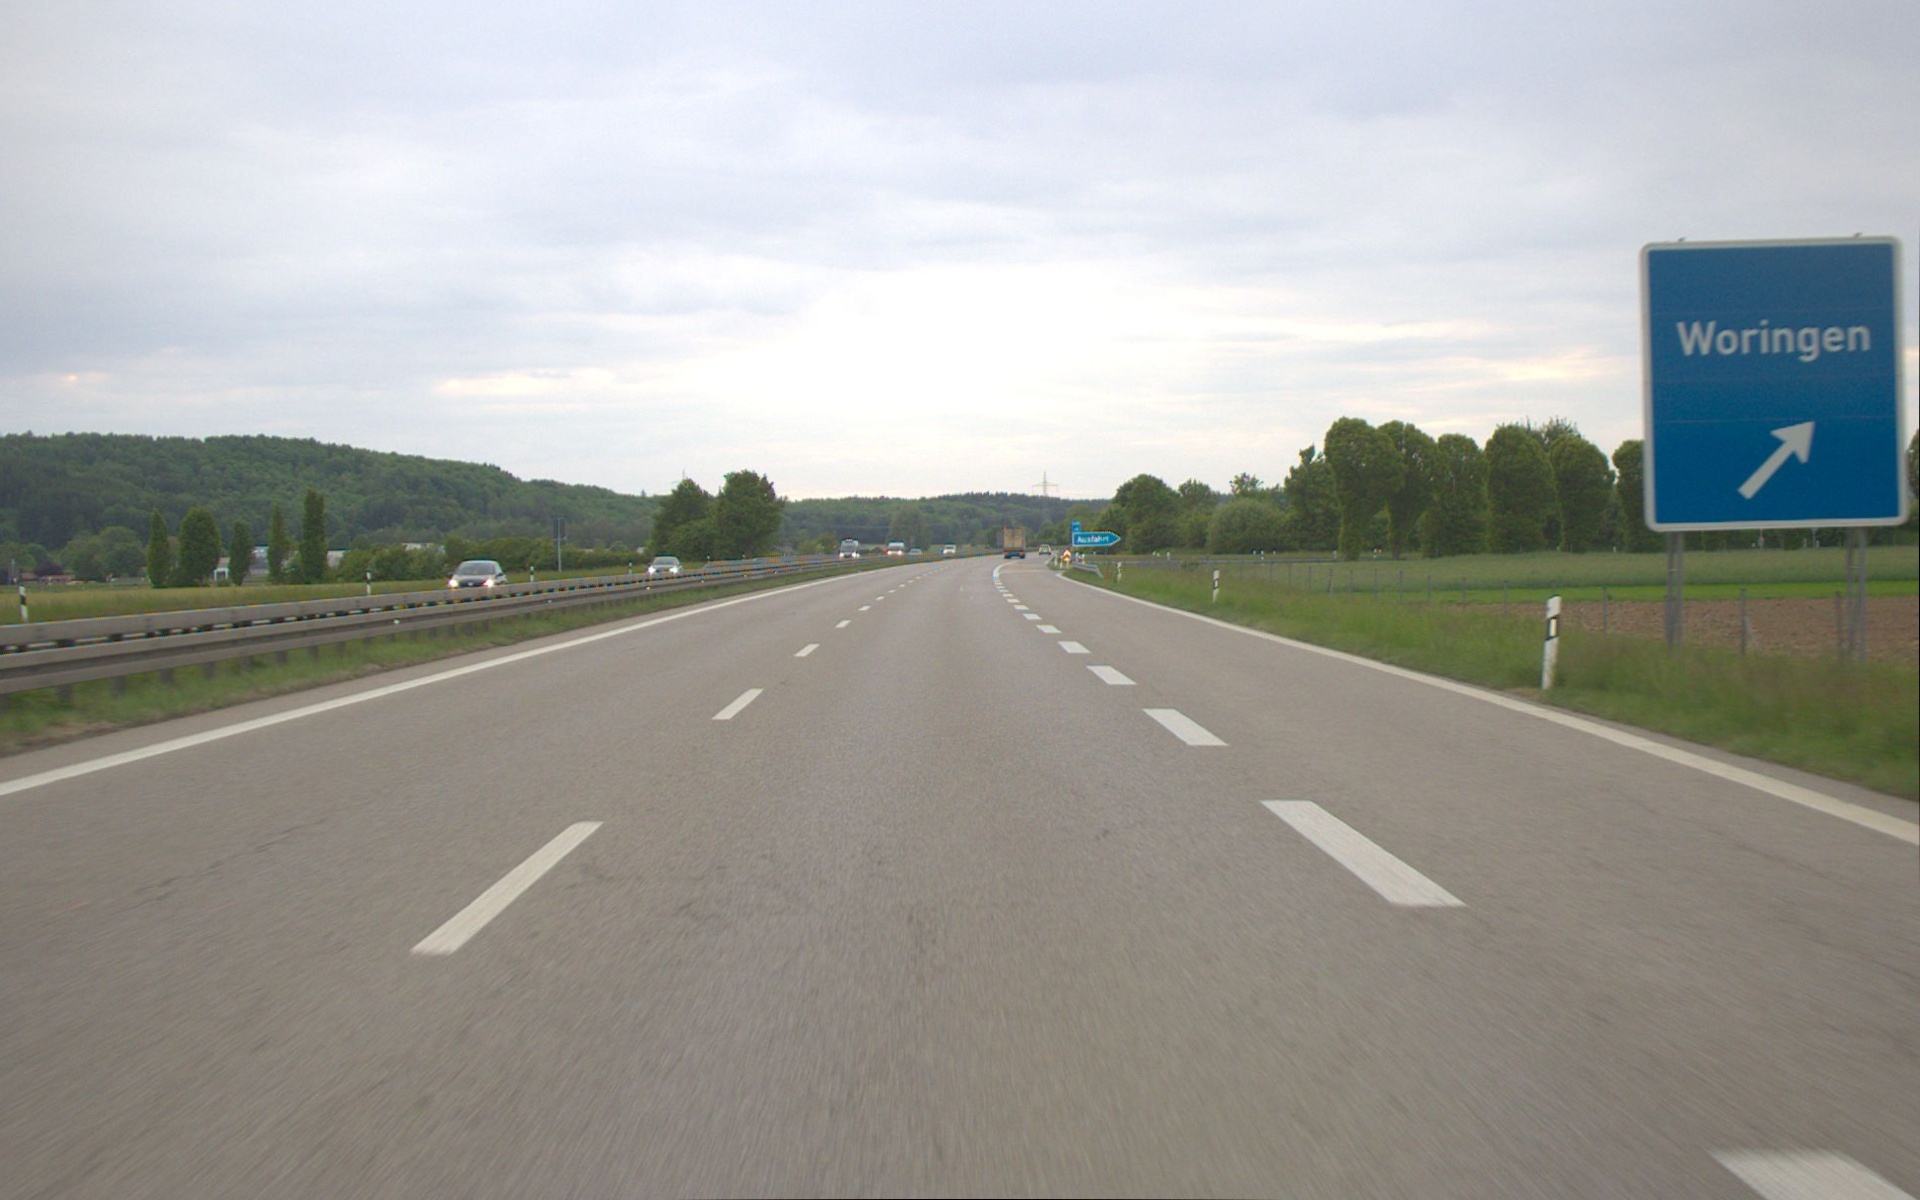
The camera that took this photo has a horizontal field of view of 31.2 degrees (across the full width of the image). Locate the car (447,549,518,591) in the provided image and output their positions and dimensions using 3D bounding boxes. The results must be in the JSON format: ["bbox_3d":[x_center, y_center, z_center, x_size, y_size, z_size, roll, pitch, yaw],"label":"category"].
[{"bbox_3d":[-17.448,-1.116,125.879,1.993,1.475,4.452,0,1,0],"label":"car"}]

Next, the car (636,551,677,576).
[{"bbox_3d":[-17.615,-2.126,199.673,1.993,1.411,4.524,0,1,0],"label":"car"}]
